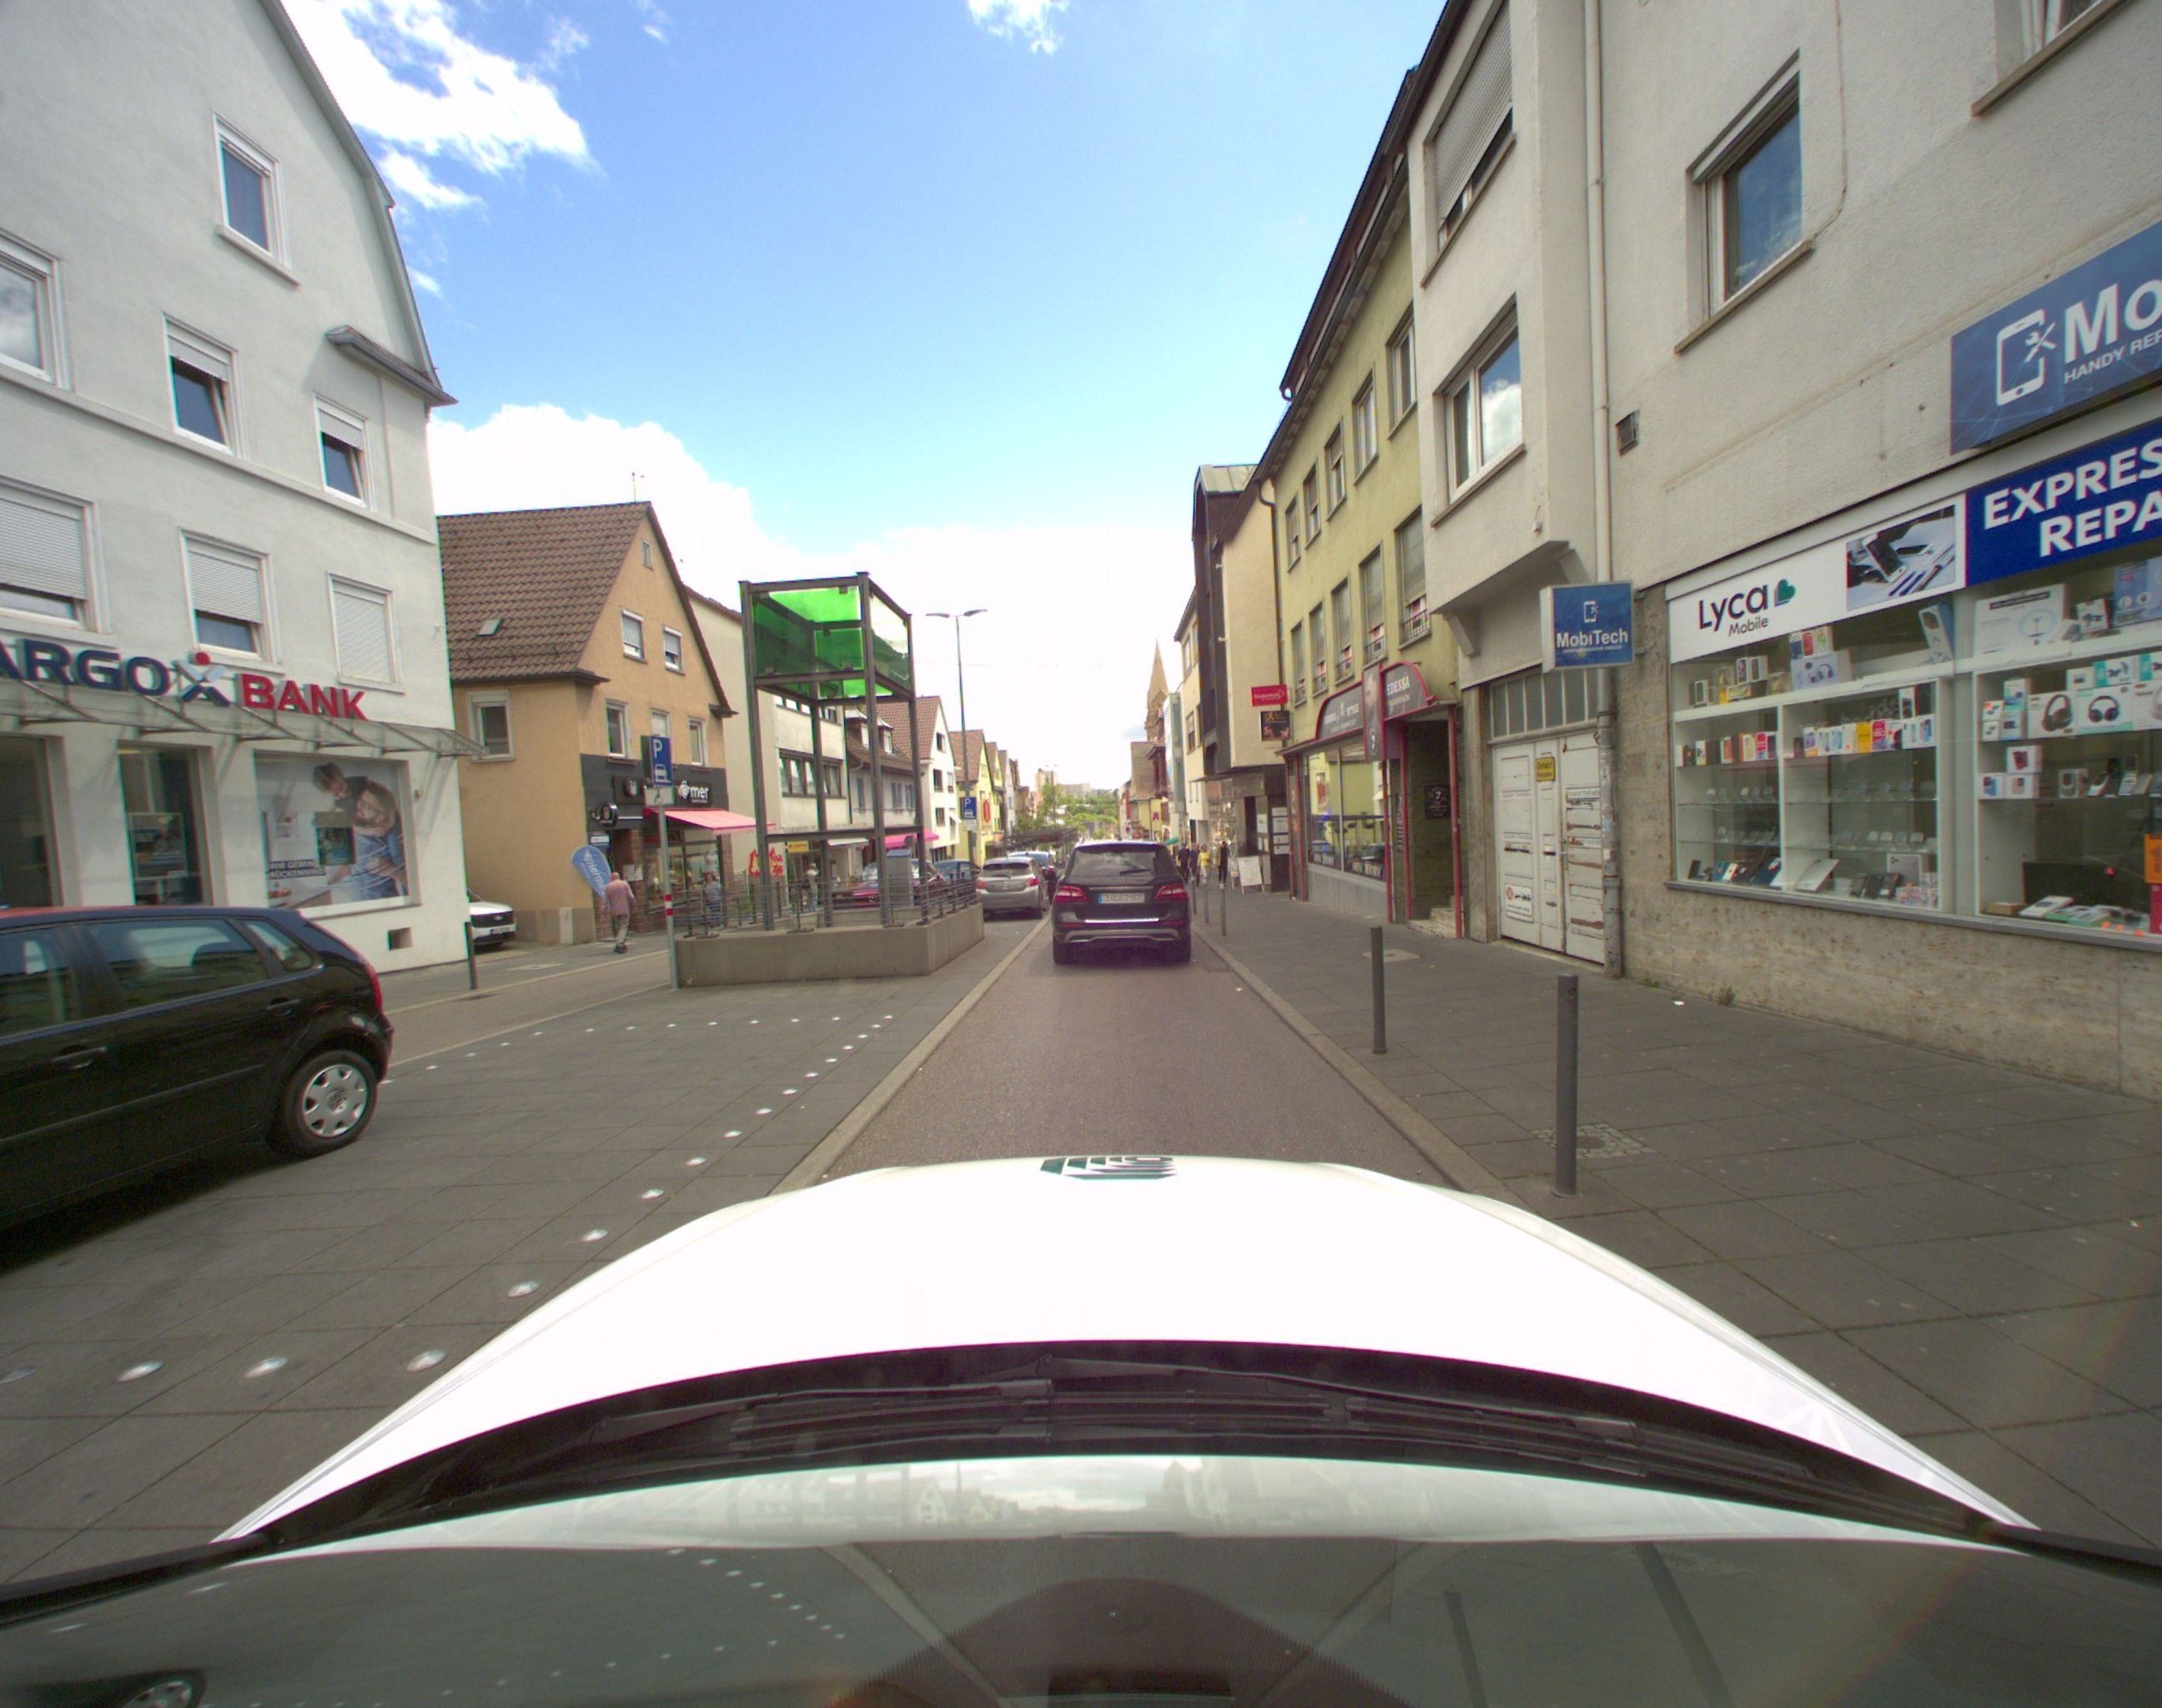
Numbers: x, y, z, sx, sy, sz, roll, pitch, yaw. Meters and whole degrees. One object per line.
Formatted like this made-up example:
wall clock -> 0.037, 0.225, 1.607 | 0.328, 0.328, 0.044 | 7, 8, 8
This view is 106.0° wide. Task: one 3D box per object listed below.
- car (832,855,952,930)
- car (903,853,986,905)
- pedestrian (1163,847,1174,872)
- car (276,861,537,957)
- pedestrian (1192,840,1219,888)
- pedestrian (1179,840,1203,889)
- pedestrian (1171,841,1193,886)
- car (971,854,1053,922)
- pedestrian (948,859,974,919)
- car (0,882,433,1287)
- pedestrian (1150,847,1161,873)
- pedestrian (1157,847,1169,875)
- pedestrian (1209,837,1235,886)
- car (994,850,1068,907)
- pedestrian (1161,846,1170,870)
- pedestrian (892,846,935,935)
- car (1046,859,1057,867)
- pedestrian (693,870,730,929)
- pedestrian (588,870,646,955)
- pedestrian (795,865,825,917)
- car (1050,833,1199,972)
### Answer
car -> -4.306, 0.817, 19.223 | 1.732, 1.543, 4.194 | -1, 0, 1
car -> -4.297, 0.743, 26.200 | 1.731, 1.475, 3.889 | 0, 1, 4
pedestrian -> 6.104, 0.409, 56.715 | 0.572, 1.689, 0.565 | -4, 0, -5
car -> -14.495, 1.137, 17.681 | 4.055, 1.873, 1.884 | 1, 0, 1
pedestrian -> 4.382, 0.351, 28.676 | 0.708, 1.631, 0.835 | -4, 0, 1
pedestrian -> 4.117, 0.397, 30.474 | 0.708, 1.753, 0.785 | -4, 0, 1
pedestrian -> 4.164, 0.385, 33.566 | 0.708, 1.753, 0.787 | -4, 0, 1
car -> -1.648, 0.779, 20.483 | 1.614, 1.532, 3.671 | -1, 0, 1
pedestrian -> -3.017, 0.868, 20.435 | 0.464, 1.431, 0.492 | -4, 0, 1
car -> -4.936, 0.943, 3.289 | 1.564, 1.475, 3.854 | -2, 0, -1
pedestrian -> 5.053, 0.429, 55.390 | 0.541, 1.726, 0.527 | -3, 0, -5
pedestrian -> 5.063, 0.435, 50.227 | 0.620, 1.689, 0.565 | -1, 0, -5
pedestrian -> 5.127, 0.273, 29.686 | 0.662, 1.689, 0.542 | -6, 0, -5
car -> -1.493, 0.725, 25.862 | 1.949, 1.639, 4.316 | -1, 0, 1
pedestrian -> 5.968, 0.272, 57.573 | 0.572, 1.689, 0.565 | -1, 0, -5
pedestrian -> -3.259, 0.697, 15.928 | 0.531, 1.672, 0.902 | -2, 0, 4
car -> -4.420, 1.379, 122.065 | 1.383, 1.070, 3.114 | -3, 0, 2
pedestrian -> -10.369, 1.264, 22.869 | 0.563, 1.573, 0.717 | -4, 0, 1
pedestrian -> -9.623, 1.187, 16.922 | 0.636, 1.689, 0.829 | -2, 0, 6
pedestrian -> -9.075, 1.220, 27.249 | 0.638, 1.689, 0.670 | -2, -1, 41
car -> 0.560, 0.622, 12.432 | 1.894, 1.747, 3.999 | -1, 0, 0
